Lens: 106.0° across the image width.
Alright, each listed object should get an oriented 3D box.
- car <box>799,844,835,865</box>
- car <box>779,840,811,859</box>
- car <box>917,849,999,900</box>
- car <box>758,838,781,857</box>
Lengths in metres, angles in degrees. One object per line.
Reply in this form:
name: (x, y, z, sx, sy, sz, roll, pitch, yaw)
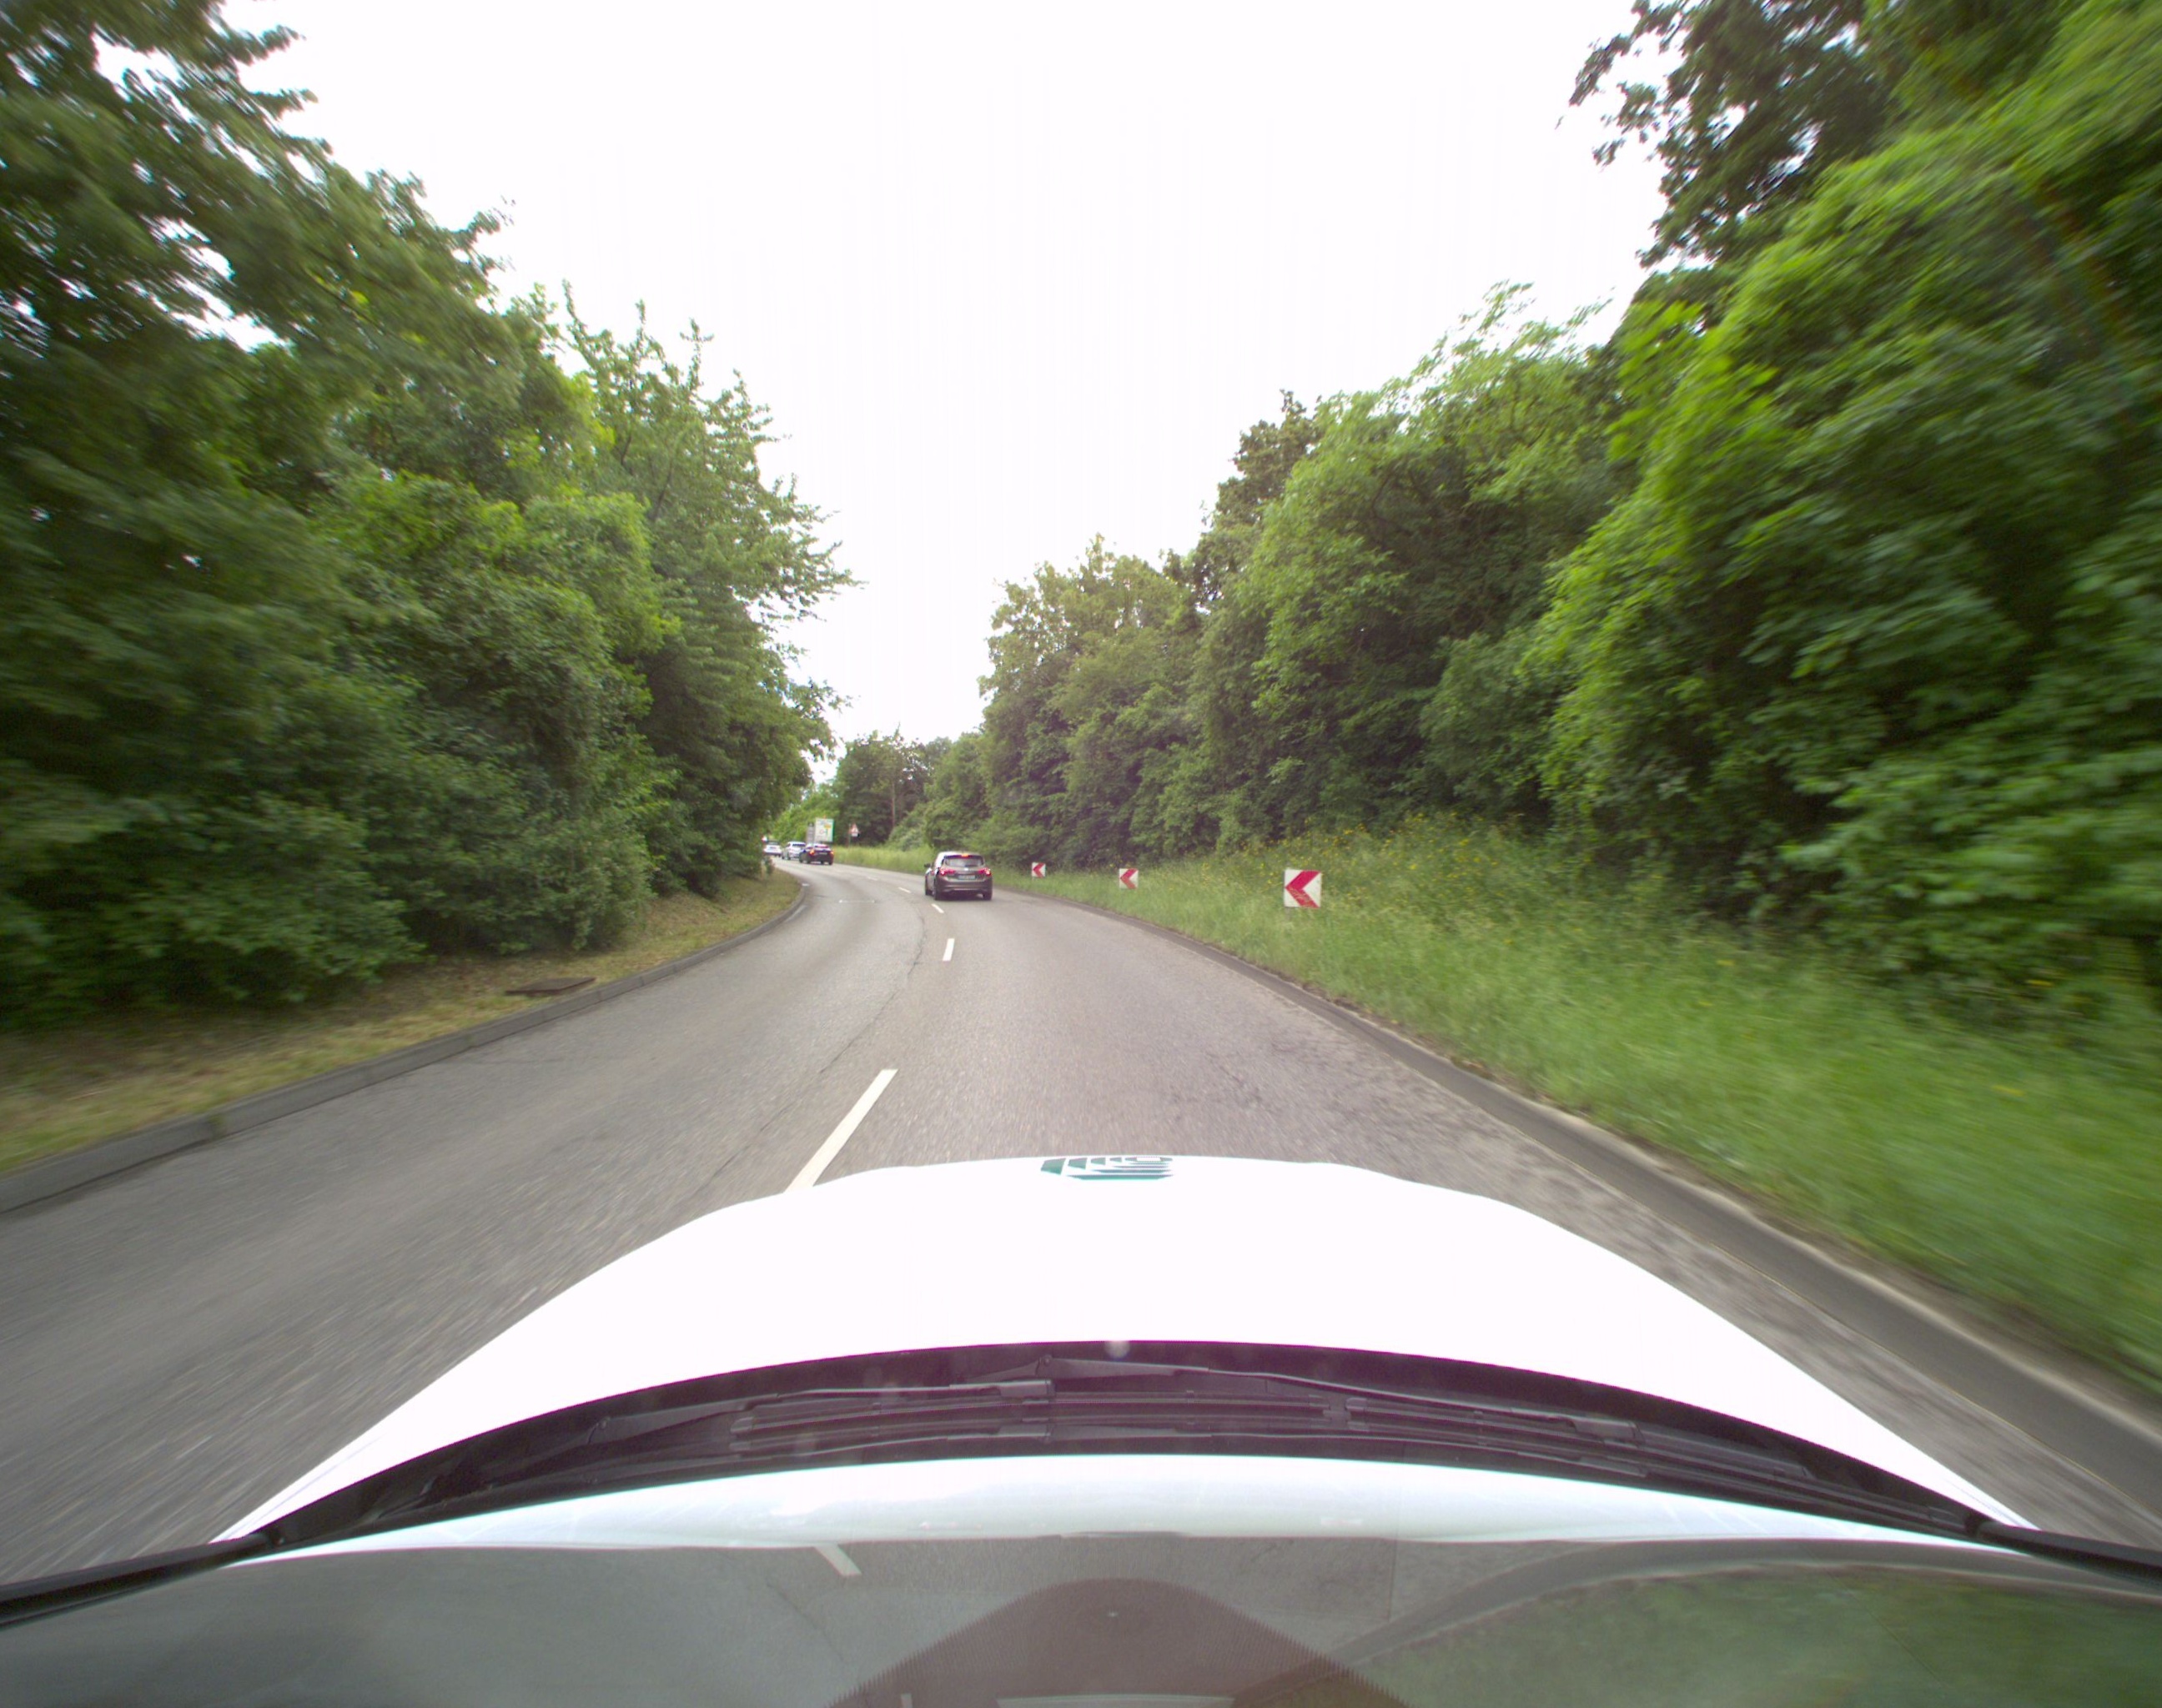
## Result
car: (-18.980, -0.005, 58.458, 1.850, 1.387, 3.965, 1, 1, -27)
car: (-23.523, -0.379, 66.955, 1.850, 1.387, 3.964, 1, 1, -29)
car: (-4.074, 0.638, 26.504, 1.846, 1.483, 3.973, -2, 0, -20)
car: (-28.973, -0.562, 75.645, 1.779, 1.633, 3.860, 1, -1, -25)
